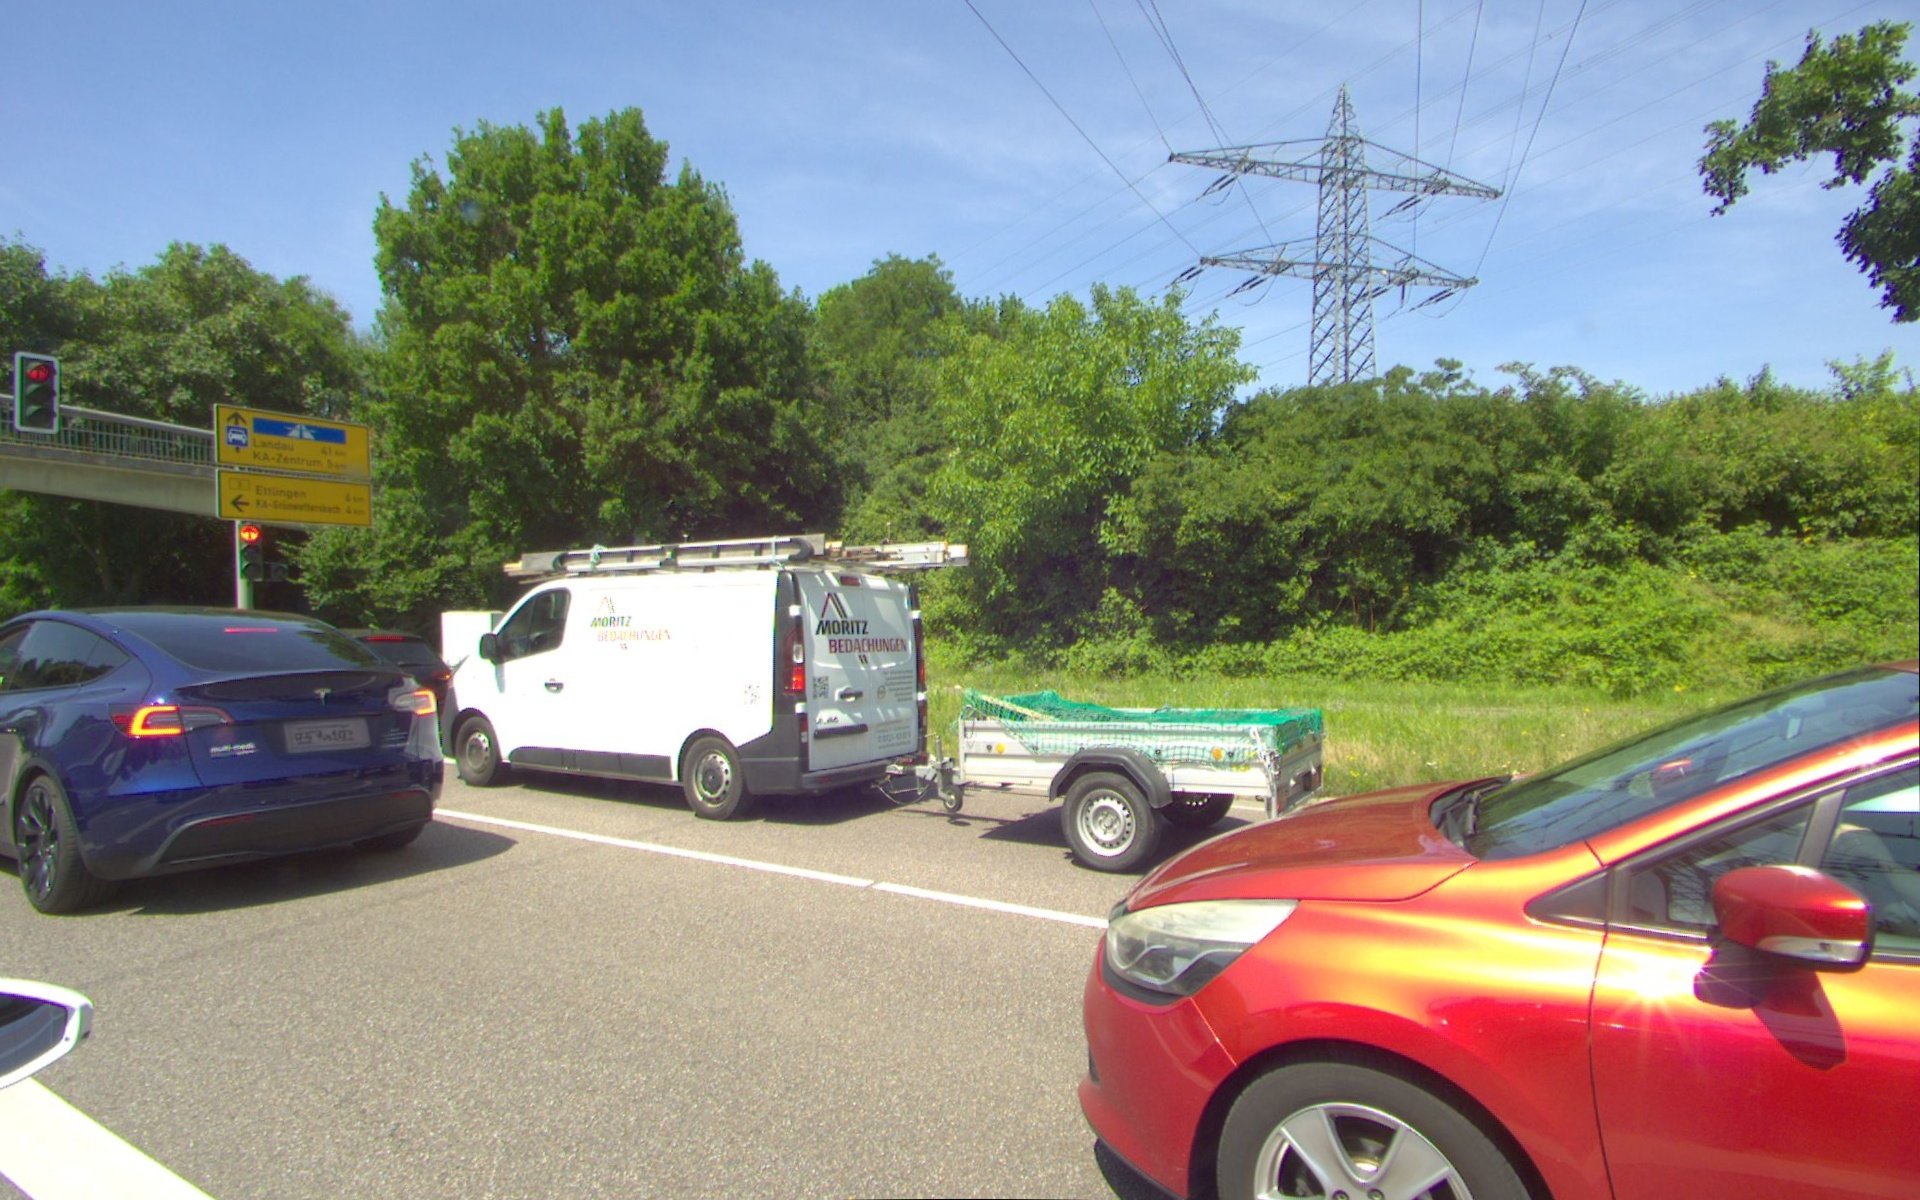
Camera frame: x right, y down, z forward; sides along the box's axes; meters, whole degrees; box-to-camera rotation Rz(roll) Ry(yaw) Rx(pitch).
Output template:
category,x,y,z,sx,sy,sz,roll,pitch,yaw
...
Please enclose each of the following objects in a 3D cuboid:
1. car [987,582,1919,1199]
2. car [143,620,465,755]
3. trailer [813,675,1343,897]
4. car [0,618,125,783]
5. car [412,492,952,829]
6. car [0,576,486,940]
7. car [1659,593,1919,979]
category,x,y,z,sx,sy,sz,roll,pitch,yaw
car,2.214,0.733,2.041,4.006,1.480,1.740,-1,-2,32
car,-8.582,1.015,13.020,4.318,1.497,1.897,-1,-2,32
trailer,0.782,1.119,6.967,3.276,1.019,1.703,-1,-1,32
car,-10.355,0.930,10.086,3.882,1.497,1.897,-1,-2,32
car,-2.690,0.483,9.212,5.002,2.379,1.929,-1,-1,32
car,-5.324,0.773,6.599,4.455,1.665,1.897,-1,-2,32
car,5.543,0.774,4.270,4.105,1.616,1.761,-1,0,32
